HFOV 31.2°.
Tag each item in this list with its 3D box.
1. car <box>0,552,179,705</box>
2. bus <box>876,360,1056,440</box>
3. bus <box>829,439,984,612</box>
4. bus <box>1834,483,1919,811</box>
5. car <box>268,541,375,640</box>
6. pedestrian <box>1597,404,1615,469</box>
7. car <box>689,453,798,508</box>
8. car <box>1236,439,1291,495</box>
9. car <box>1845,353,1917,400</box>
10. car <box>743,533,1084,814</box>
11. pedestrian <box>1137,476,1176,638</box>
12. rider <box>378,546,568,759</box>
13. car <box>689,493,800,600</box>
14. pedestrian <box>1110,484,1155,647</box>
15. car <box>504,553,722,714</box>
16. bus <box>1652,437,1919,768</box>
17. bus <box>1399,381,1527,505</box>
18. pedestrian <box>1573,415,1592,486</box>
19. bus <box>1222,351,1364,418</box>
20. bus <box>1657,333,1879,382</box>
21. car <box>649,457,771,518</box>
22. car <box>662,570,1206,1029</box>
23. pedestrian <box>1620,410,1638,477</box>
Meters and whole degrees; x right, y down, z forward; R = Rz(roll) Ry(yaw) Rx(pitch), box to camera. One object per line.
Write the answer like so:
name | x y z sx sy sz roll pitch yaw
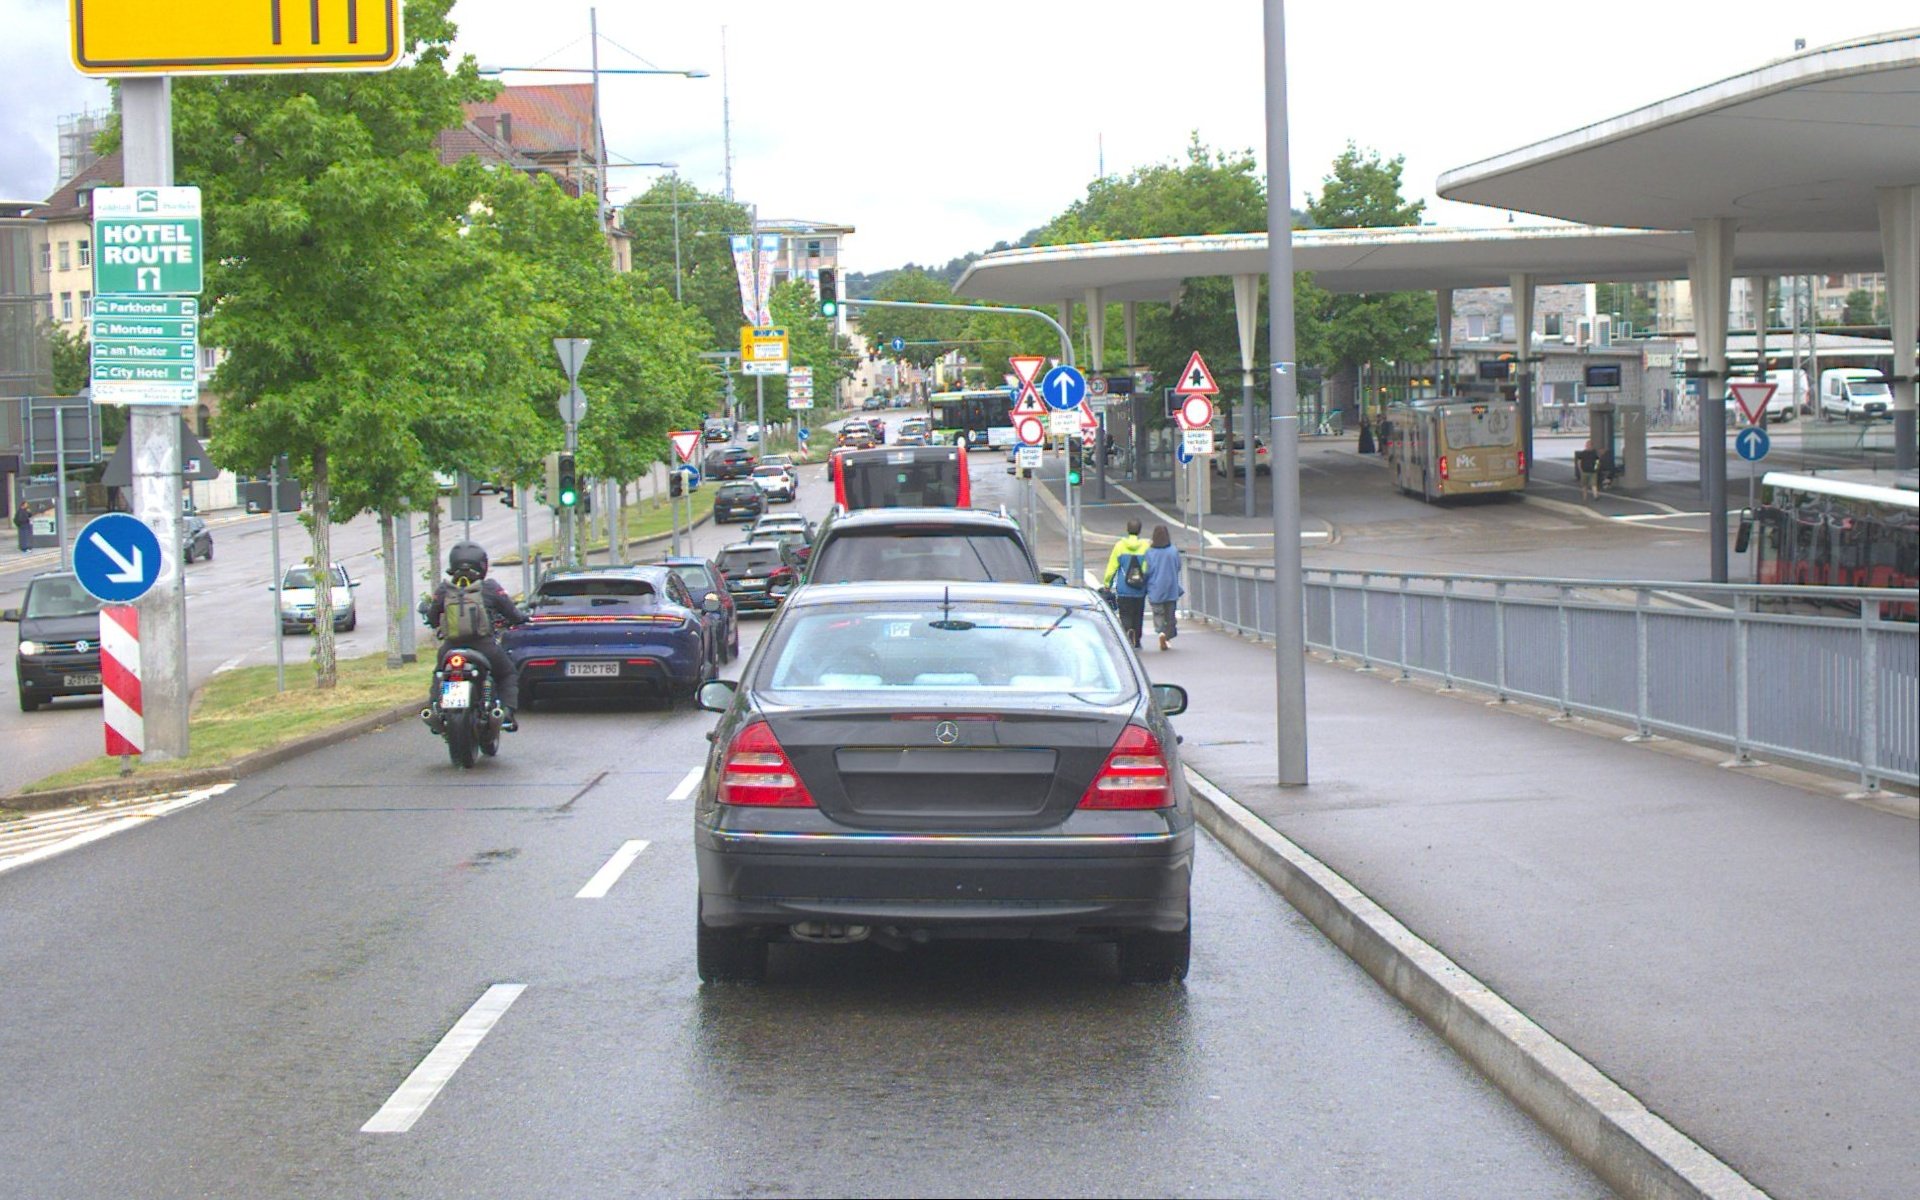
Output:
car | -12.308 0.376 48.663 1.993 2.007 4.203 -2 0 -7
bus | 0.232 -10.559 180.699 3.257 3.993 10.890 -5 6 -38
bus | -1.070 -1.484 68.148 2.827 3.178 10.310 0 1 -1
bus | 11.011 0.524 33.608 2.645 3.225 7.073 -2 3 -4
car | -13.718 -0.211 74.050 1.993 2.007 4.203 -2 0 -7
pedestrian | 20.191 -5.115 107.412 0.424 2.006 0.483 -2 1 2
car | -8.490 -4.684 134.778 3.987 2.006 2.000 -1 2 4
car | 11.395 -5.000 129.111 1.994 2.006 4.000 -1 2 5
car | 40.888 -9.913 152.695 1.993 2.006 4.001 -2 3 -1
car | -0.219 0.408 23.045 1.827 1.681 3.999 0 2 6
pedestrian | 2.458 -0.530 43.022 0.424 2.007 0.483 -2 -1 2
rider | -3.543 0.351 25.212 0.881 1.467 2.196 1 1 5
car | -4.135 -1.061 66.544 1.993 1.999 4.001 0 2 -1
pedestrian | 2.158 -0.425 42.949 0.489 2.007 0.469 -2 -1 2
car | -3.343 0.281 33.758 1.760 1.431 4.000 0 2 0
bus | 10.473 -0.134 40.708 2.645 3.225 7.074 -2 5 -4
bus | 15.594 -4.805 107.275 3.179 3.588 10.509 -1 1 4
pedestrian | 17.944 -4.302 99.034 0.424 2.006 0.483 -2 1 2
bus | 17.991 -11.633 185.975 7.197 3.384 3.083 -2 3 -4
bus | 38.774 -11.644 165.080 10.167 2.006 2.170 -2 2 -3
car | -8.762 -3.947 120.555 3.987 2.006 2.000 -1 2 4
car | -0.004 0.607 12.644 1.706 1.415 3.725 0 1 3
pedestrian | 20.260 -4.742 104.109 0.424 2.007 0.483 -2 -1 2
